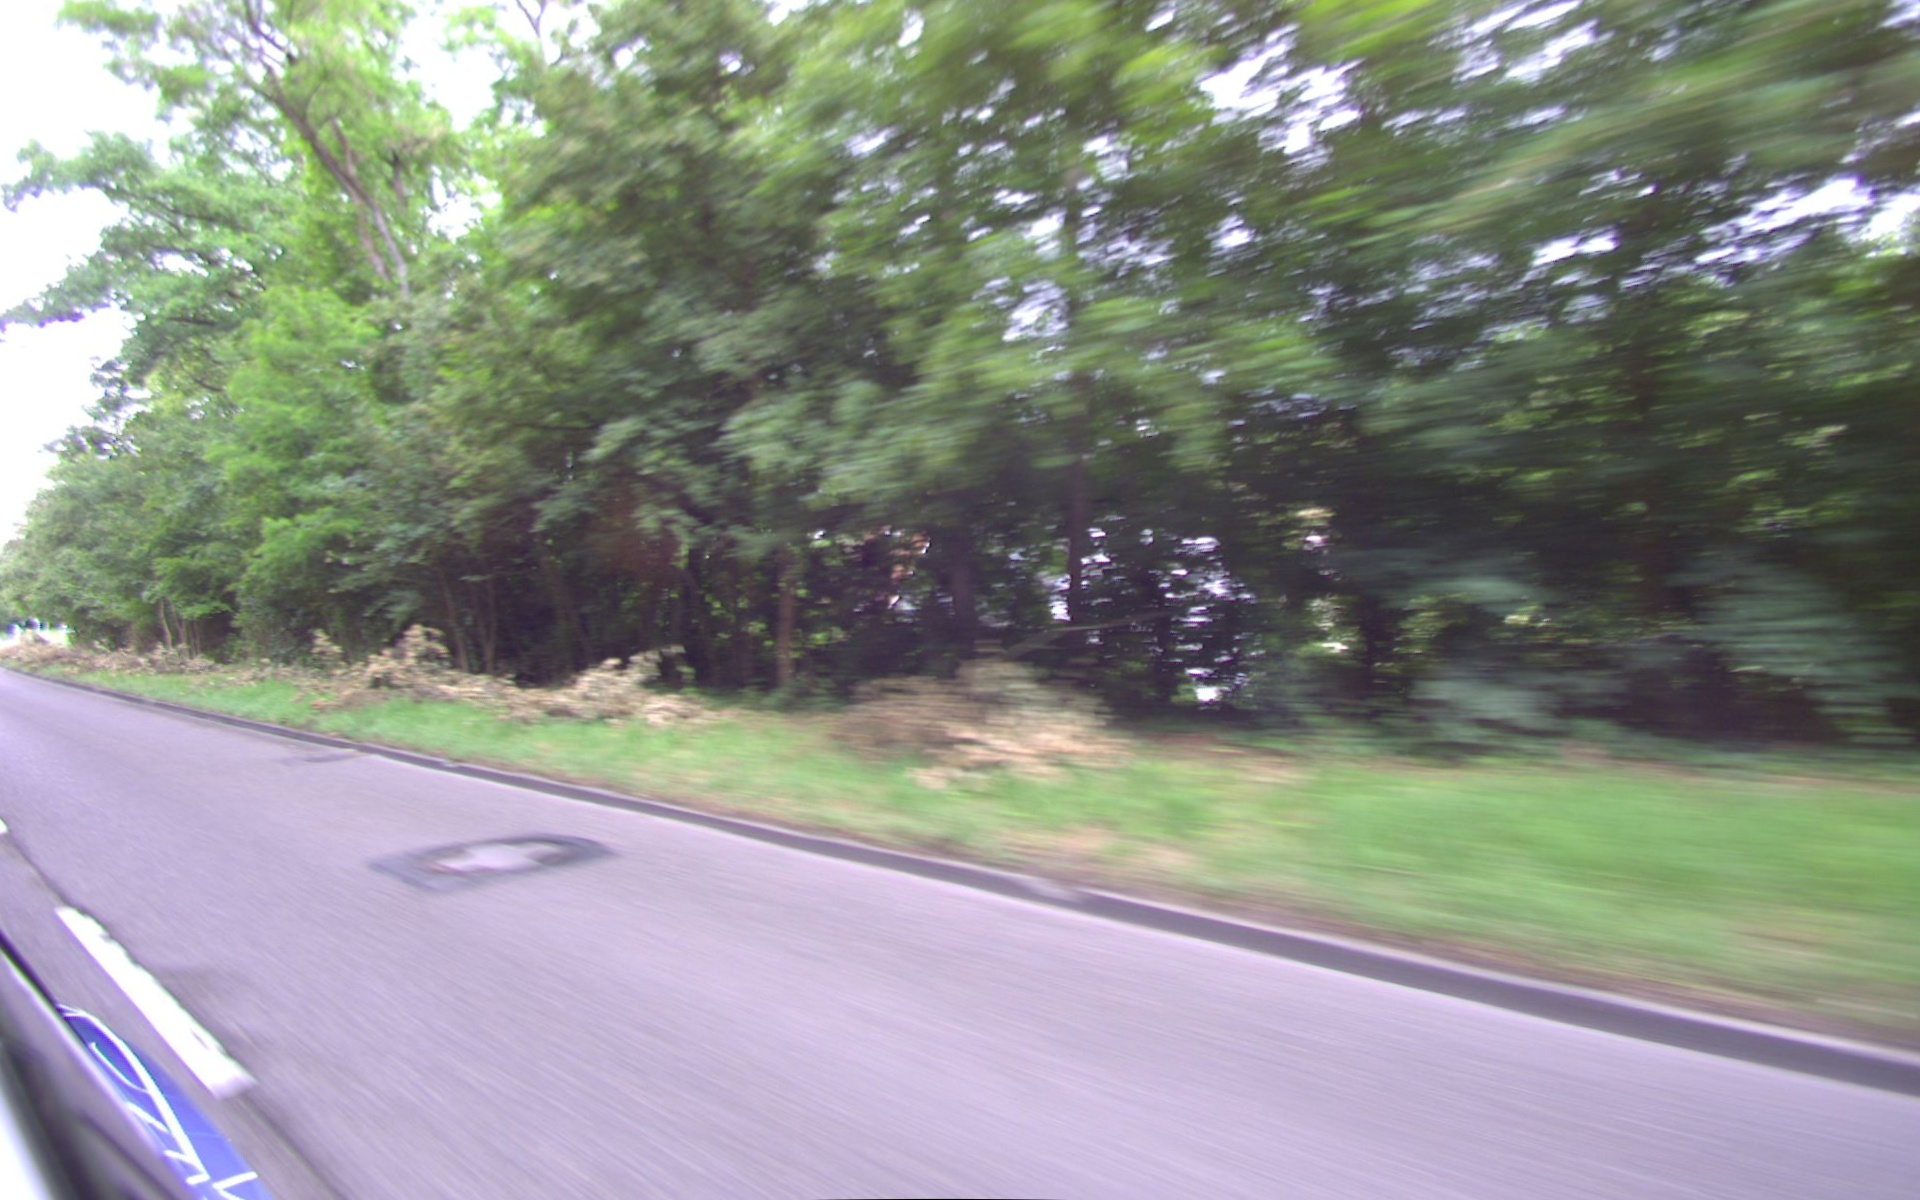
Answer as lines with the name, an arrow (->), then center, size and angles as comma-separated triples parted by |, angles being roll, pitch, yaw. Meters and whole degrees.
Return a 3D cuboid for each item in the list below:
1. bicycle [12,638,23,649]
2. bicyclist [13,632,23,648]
bicycle -> -91.825, 4.233, 98.603 | 0.657, 1.082, 2.149 | -1, -1, -40
bicyclist -> -91.729, 3.888, 98.539 | 0.657, 1.531, 1.273 | -1, -1, -40
